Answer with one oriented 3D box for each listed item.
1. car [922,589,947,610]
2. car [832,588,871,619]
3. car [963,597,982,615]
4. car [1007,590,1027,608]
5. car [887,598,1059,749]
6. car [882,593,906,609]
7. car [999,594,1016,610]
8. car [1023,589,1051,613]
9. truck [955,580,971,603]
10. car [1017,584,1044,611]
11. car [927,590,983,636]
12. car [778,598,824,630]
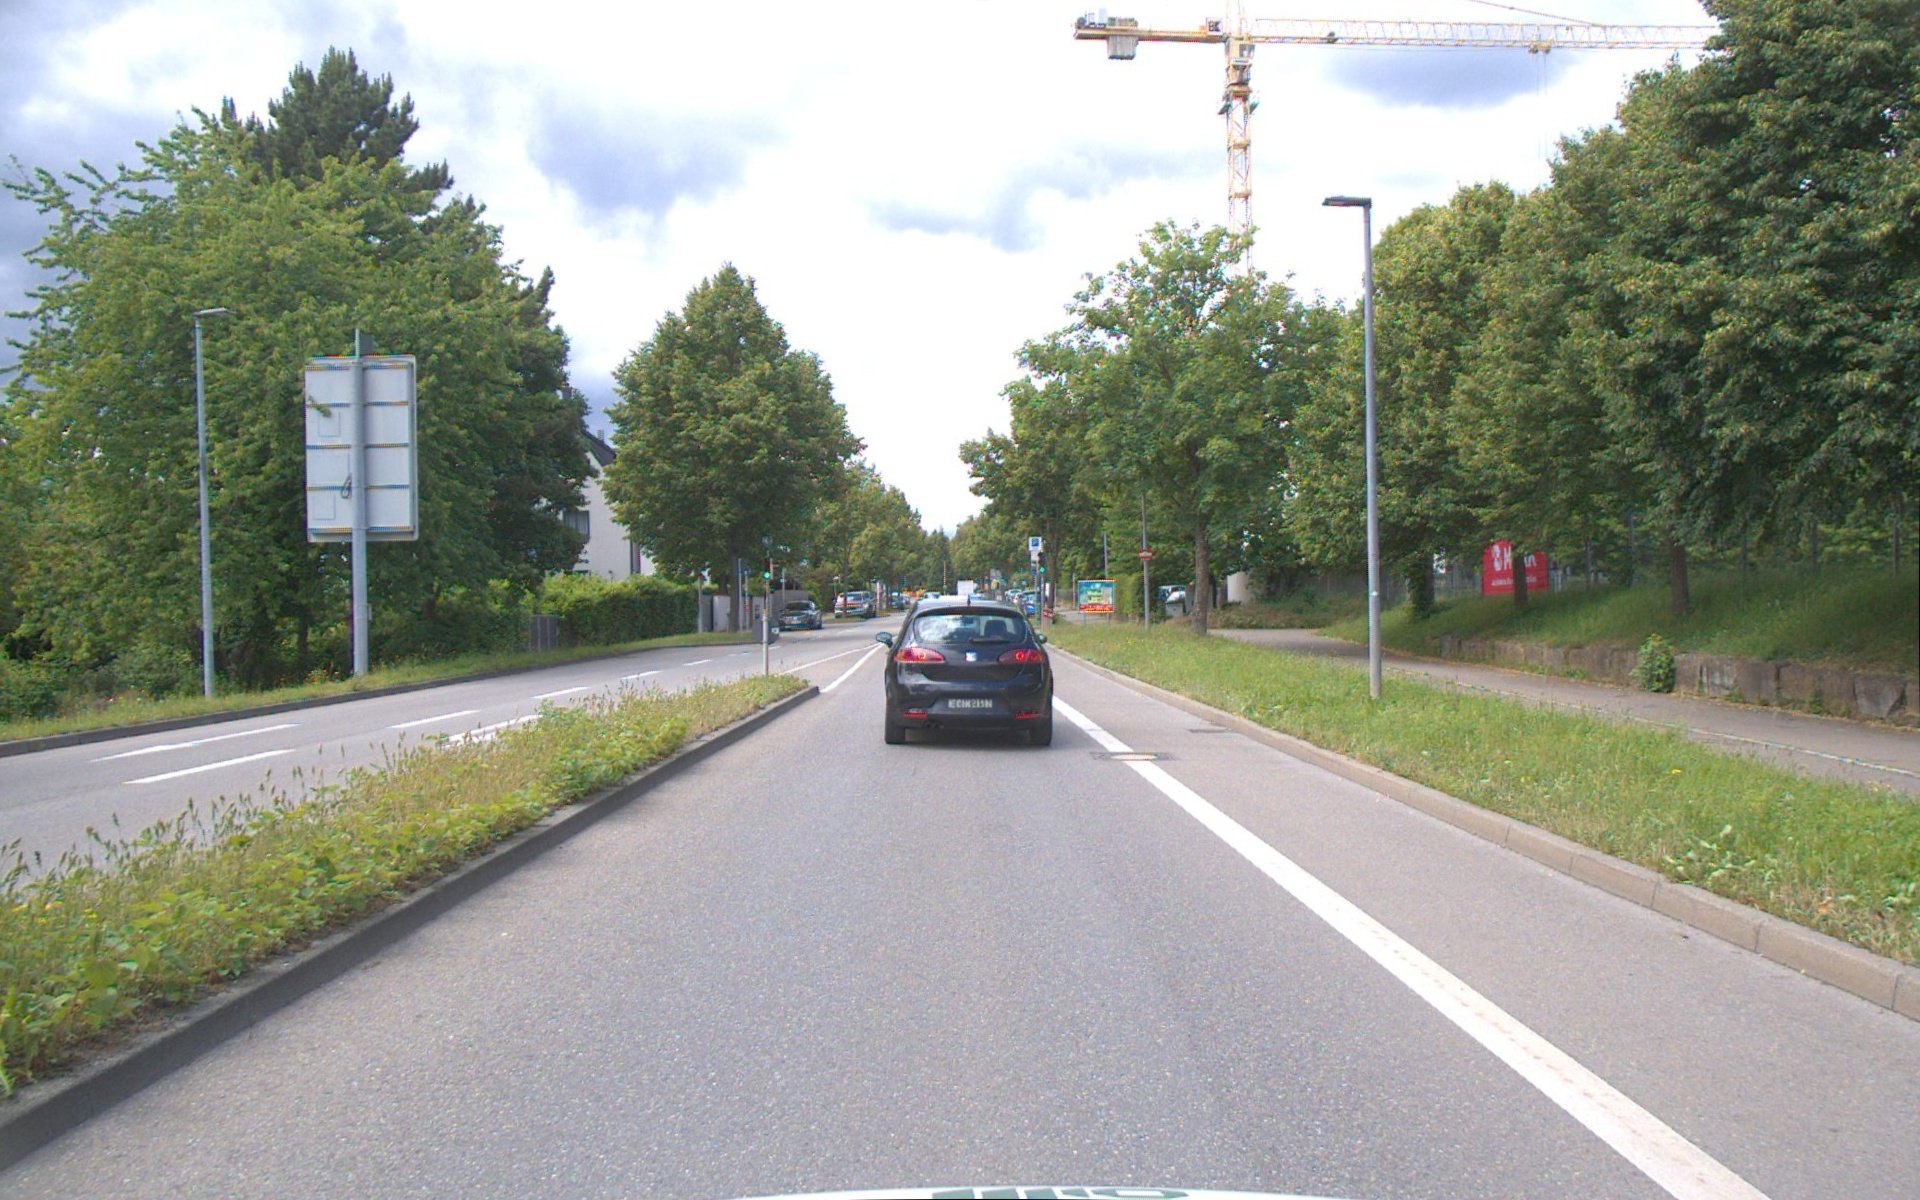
[{"bbox_3d":[-2.187,-0.078,143.356,1.836,1.663,4.342,-3,0,2],"label":"car"},{"bbox_3d":[-7.256,0.234,110.974,2.057,1.929,5.784,-3,0,0],"label":"car"},{"bbox_3d":[1.256,0.584,162.083,1.843,1.718,4.214,-1,0,0],"label":"car"},{"bbox_3d":[5.291,-0.105,154.019,1.653,1.591,4.214,-1,0,0],"label":"car"},{"bbox_3d":[0.104,0.702,17.652,1.629,1.426,3.811,0,0,-1],"label":"car"},{"bbox_3d":[-6.672,0.057,168.415,2.057,1.532,5.784,-3,0,0],"label":"car"},{"bbox_3d":[5.089,0.229,178.428,1.653,1.591,4.214,-3,0,0],"label":"car"},{"bbox_3d":[4.889,0.053,105.591,1.653,1.516,3.355,-1,0,0],"label":"car"},{"bbox_3d":[0.412,-1.142,235.900,2.232,3.158,8.510,1,0,0],"label":"truck"},{"bbox_3d":[4.682,-0.164,110.754,1.653,1.741,4.214,-1,0,0],"label":"car"},{"bbox_3d":[-0.142,0.447,58.499,1.807,1.536,3.813,0,0,2],"label":"car"},{"bbox_3d":[-7.833,0.657,81.899,1.683,1.419,4.801,-3,0,0],"label":"car"}]
